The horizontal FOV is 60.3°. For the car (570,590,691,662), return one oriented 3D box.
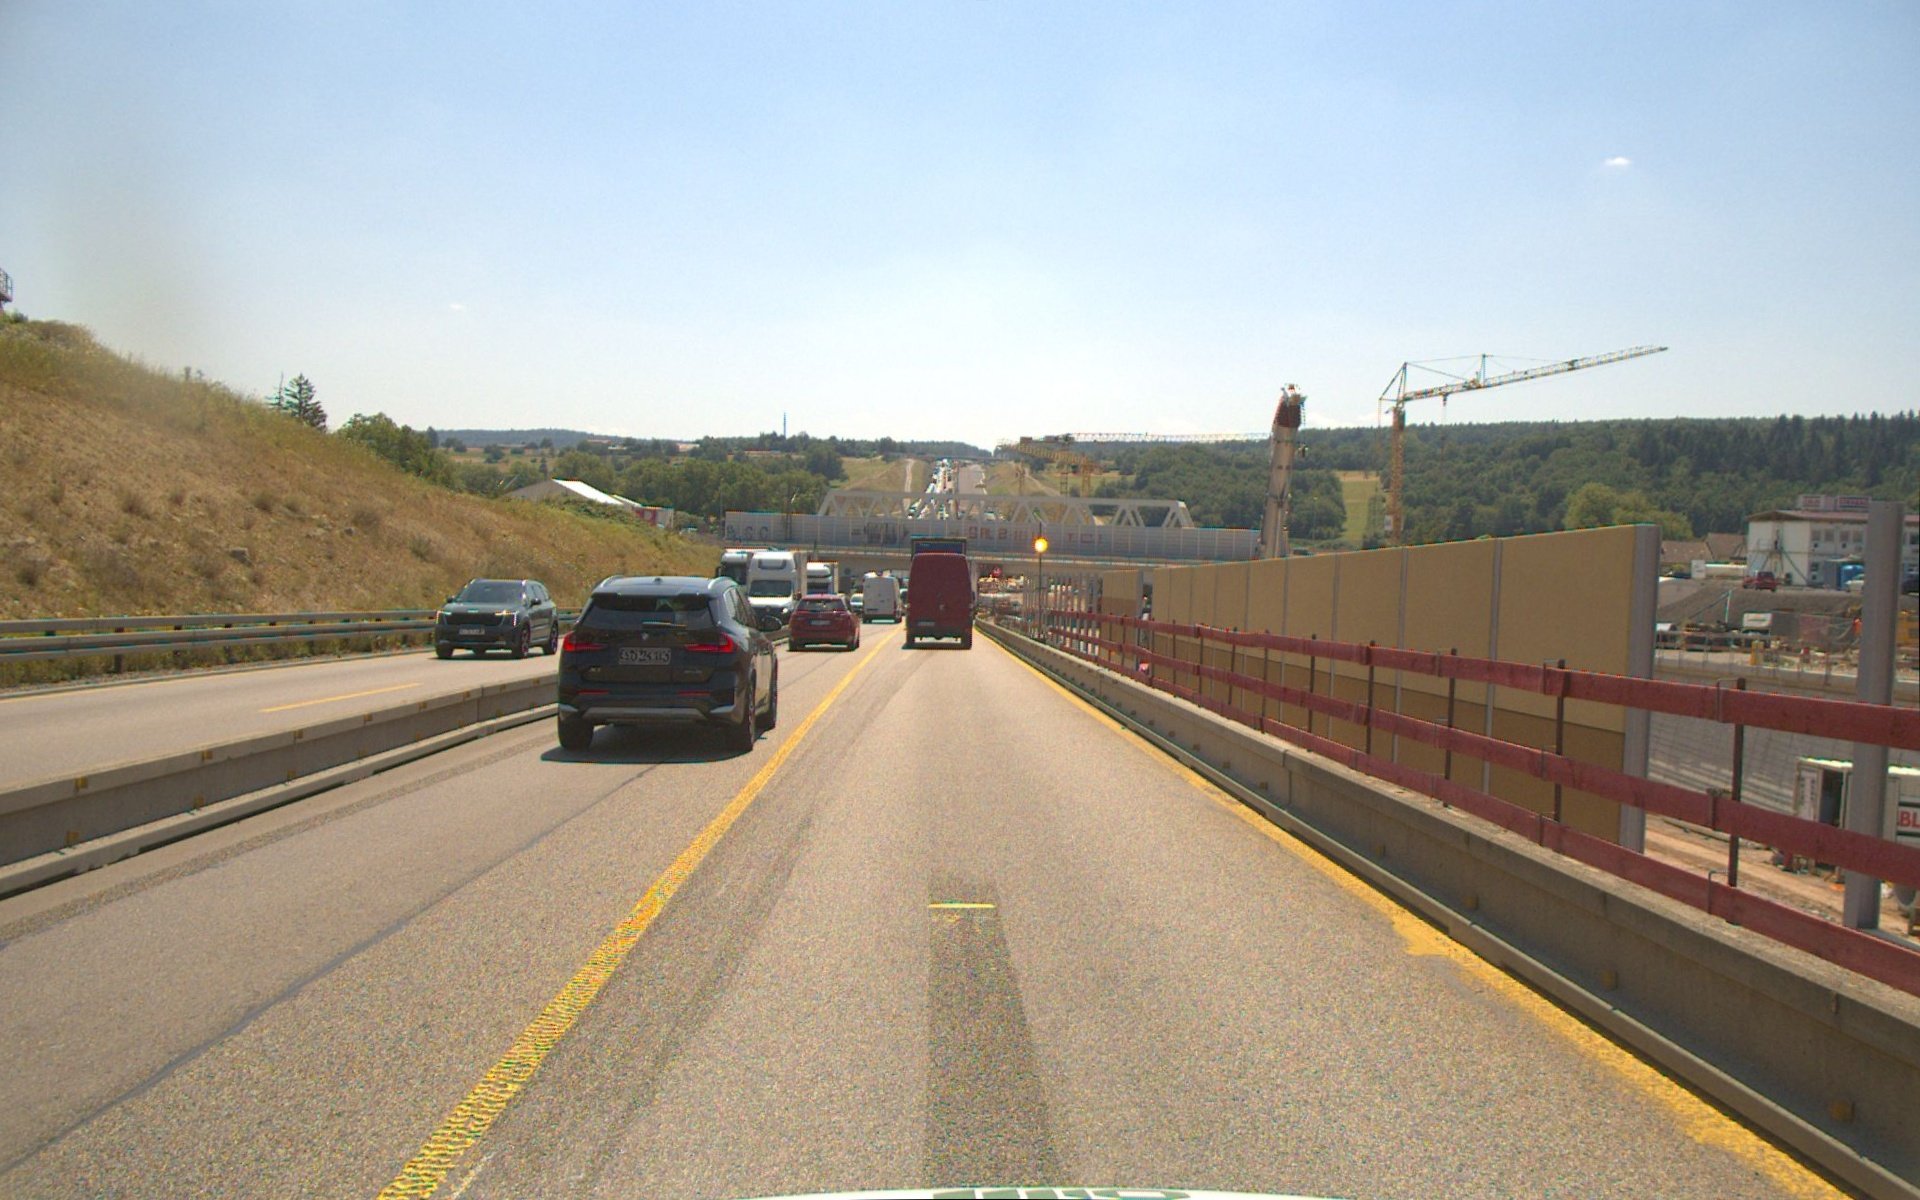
[{"bbox_3d":[-7.144,0.529,36.352,1.760,1.452,4.948,1,0,-1],"label":"car"}]

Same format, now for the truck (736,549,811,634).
[{"bbox_3d":[-7.920,-0.355,70.936,2.487,3.433,7.036,1,0,-1],"label":"truck"}]

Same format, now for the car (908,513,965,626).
[{"bbox_3d":[-1.156,-1.402,79.830,2.568,5.120,10.394,0,0,-1],"label":"car"}]

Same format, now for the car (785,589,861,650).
[{"bbox_3d":[-3.652,0.494,44.614,1.740,1.544,4.205,0,0,-1],"label":"car"}]

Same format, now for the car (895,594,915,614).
[{"bbox_3d":[-4.808,0.326,145.073,1.740,1.699,4.027,0,0,-1],"label":"car"}]

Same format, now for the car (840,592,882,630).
[{"bbox_3d":[-4.583,0.496,76.901,1.802,1.683,4.163,0,0,-2],"label":"car"}]

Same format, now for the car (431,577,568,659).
[{"bbox_3d":[-10.192,0.366,36.953,1.816,1.701,4.667,1,0,-1],"label":"car"}]

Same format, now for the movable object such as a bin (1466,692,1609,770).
[{"bbox_3d":[23.897,5.354,68.928,3.099,2.488,7.894,3,0,0],"label":"movable object such as a bin"}]

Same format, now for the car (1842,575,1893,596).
[{"bbox_3d":[68.594,-1.066,125.110,1.646,1.544,4.075,1,0,1],"label":"car"}]

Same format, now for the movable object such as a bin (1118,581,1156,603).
[{"bbox_3d":[23.866,-1.079,223.582,5.038,2.856,2.144,1,0,5],"label":"movable object such as a bin"}]

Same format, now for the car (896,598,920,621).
[{"bbox_3d":[-3.961,0.736,126.923,1.740,1.699,4.027,0,0,-1],"label":"car"}]

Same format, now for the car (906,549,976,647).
[{"bbox_3d":[-0.581,-0.070,48.802,1.948,2.737,4.622,0,0,-1],"label":"car"}]

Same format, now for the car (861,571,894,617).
[{"bbox_3d":[-4.578,-0.330,92.217,1.740,2.484,4.205,0,0,-1],"label":"car"}]

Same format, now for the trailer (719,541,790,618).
[{"bbox_3d":[-11.756,-1.139,95.942,2.643,4.095,13.698,1,0,-1],"label":"trailer"}]

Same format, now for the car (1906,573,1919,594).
[{"bbox_3d":[73.468,-1.246,124.937,1.646,1.544,4.075,1,0,1],"label":"car"}]

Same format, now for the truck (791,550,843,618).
[{"bbox_3d":[-8.372,-0.926,97.394,2.537,3.824,7.356,1,0,-1],"label":"truck"}]

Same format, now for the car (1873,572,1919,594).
[{"bbox_3d":[70.964,-1.276,124.993,1.646,1.544,4.075,1,0,1],"label":"car"}]

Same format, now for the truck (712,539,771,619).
[{"bbox_3d":[-11.594,-1.093,88.160,2.643,4.120,3.954,1,0,-2],"label":"truck"}]

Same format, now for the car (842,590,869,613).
[{"bbox_3d":[-8.629,0.112,136.371,1.994,1.855,4.958,1,0,-1],"label":"car"}]

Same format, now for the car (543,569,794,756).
[{"bbox_3d":[-2.805,0.543,16.901,1.841,1.646,4.498,0,0,-1],"label":"car"}]
